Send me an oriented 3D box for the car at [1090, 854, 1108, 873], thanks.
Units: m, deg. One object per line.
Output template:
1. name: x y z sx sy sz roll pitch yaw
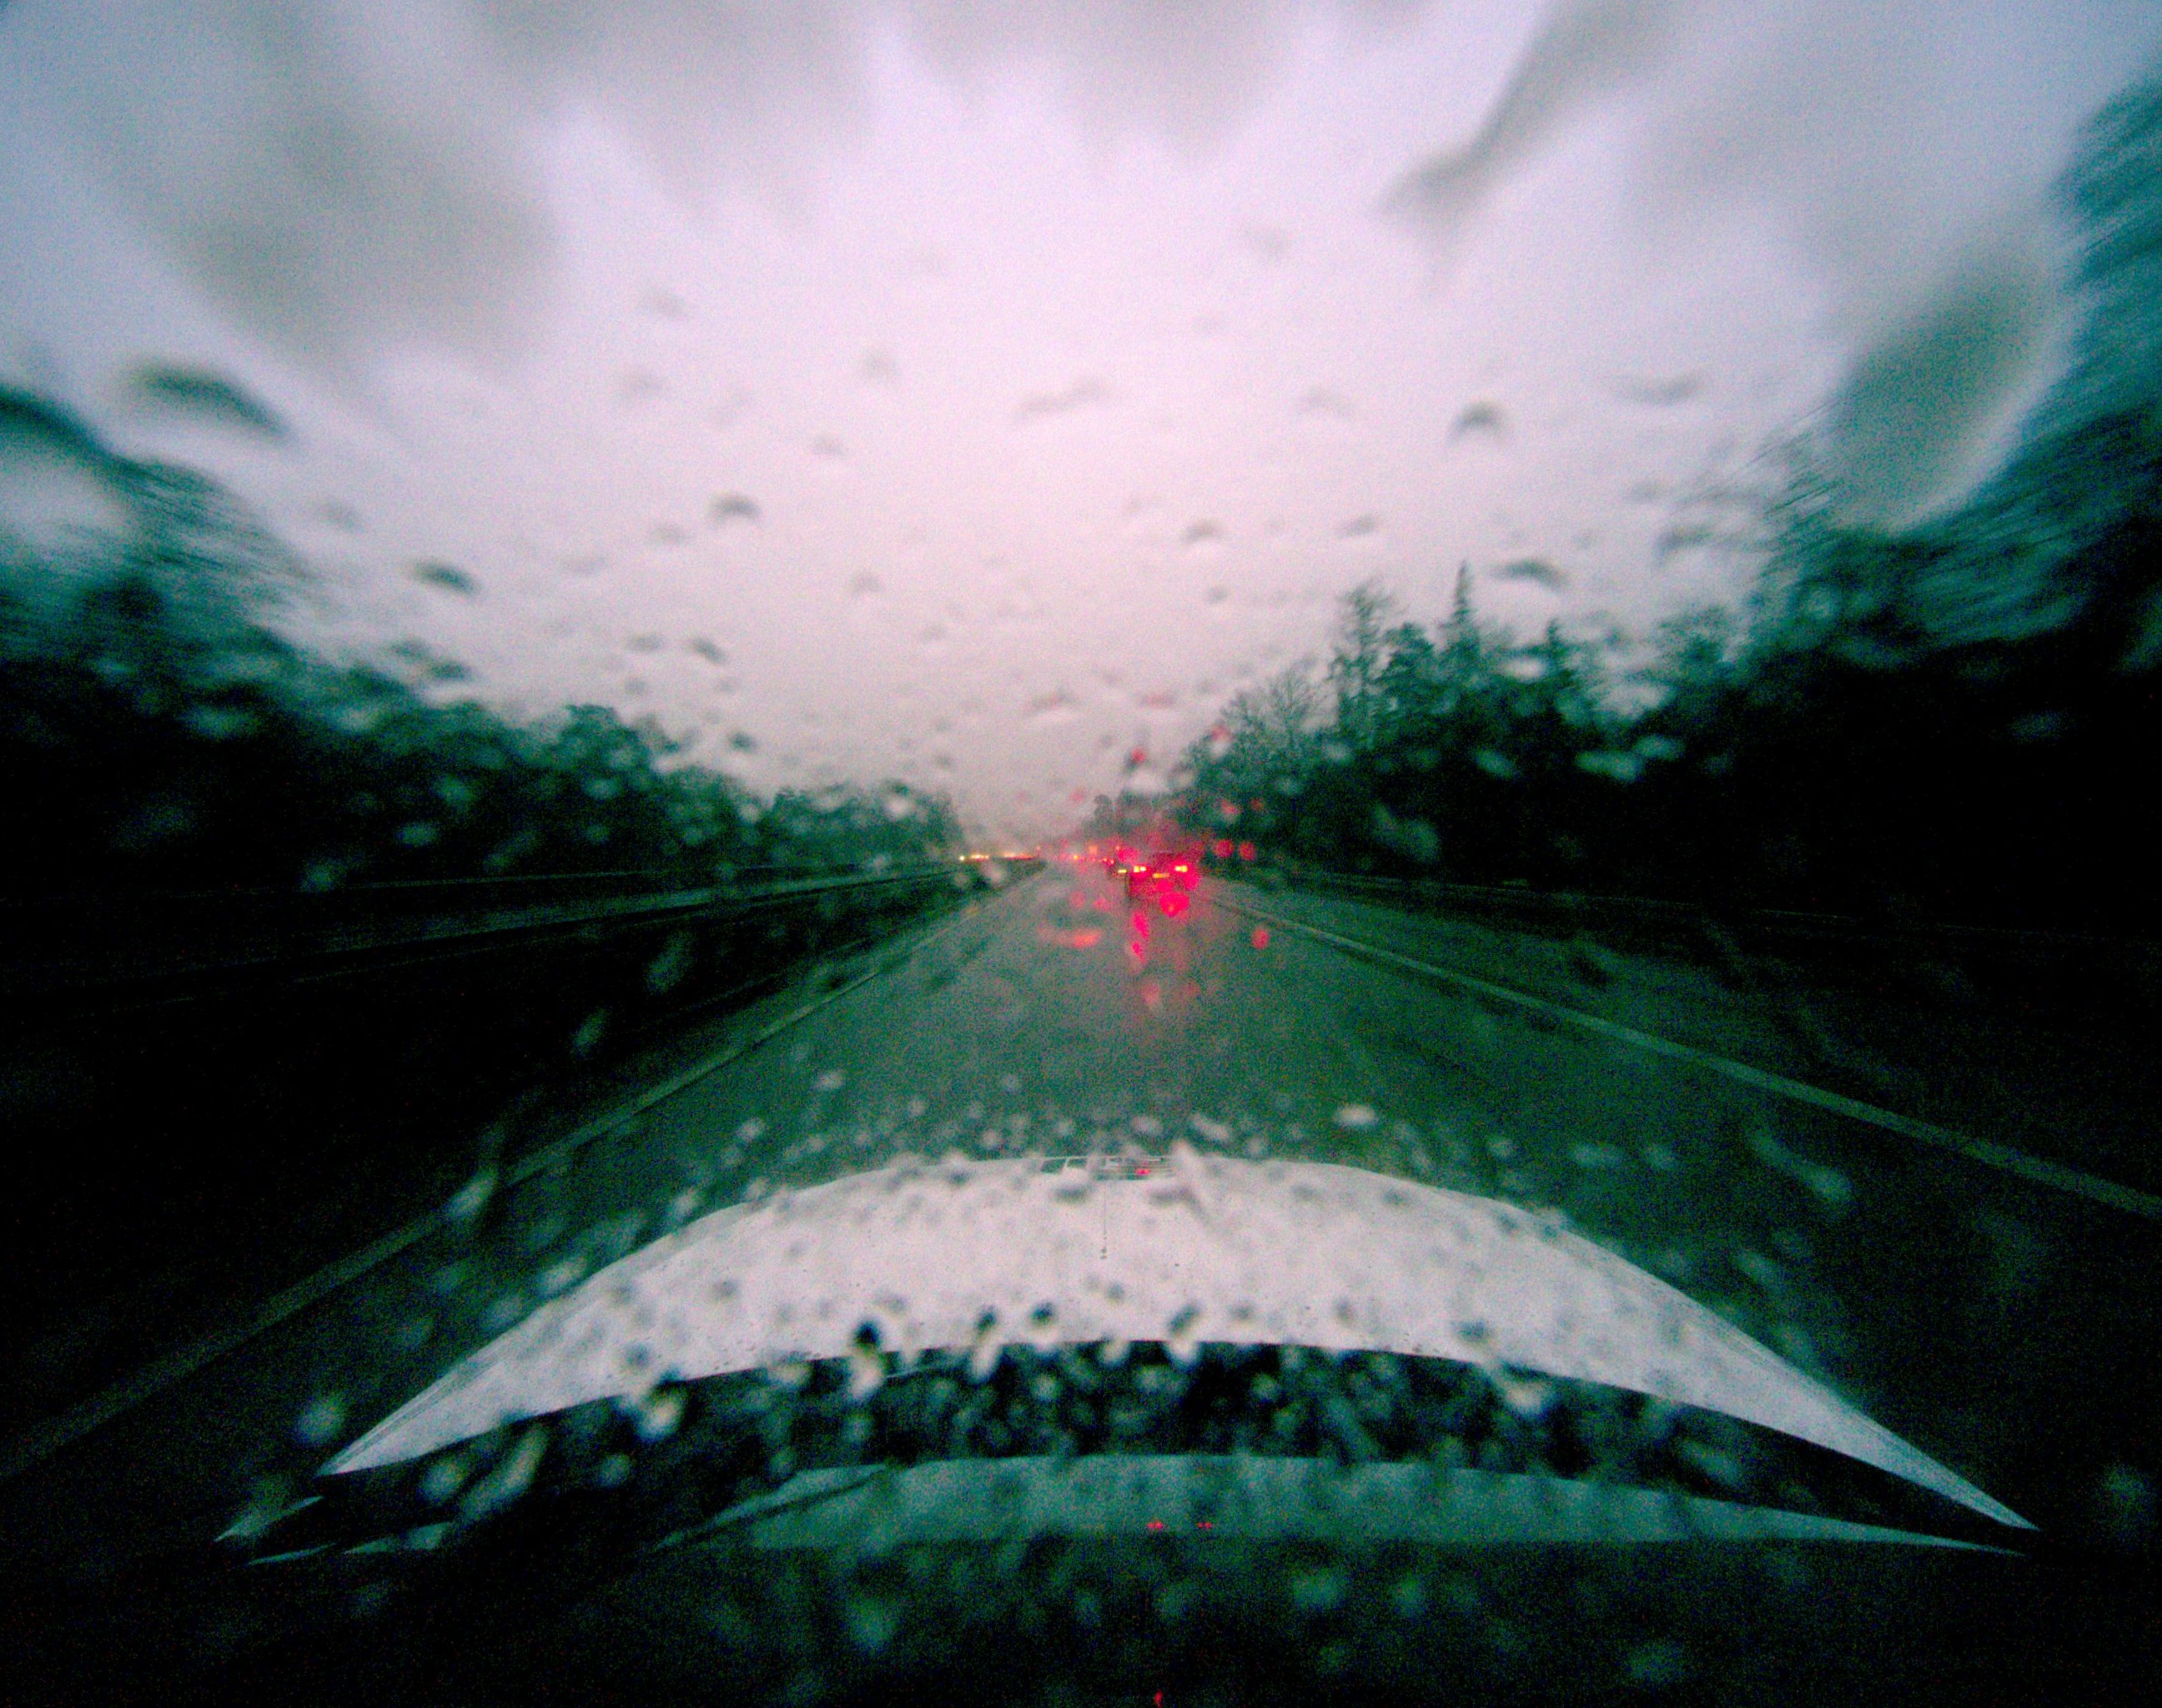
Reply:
1. car: 1.947 1.006 89.669 1.987 2.014 4.000 0 0 1

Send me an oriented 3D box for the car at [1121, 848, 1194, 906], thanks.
1. car: 2.371 0.705 26.199 1.986 1.715 3.829 0 0 0

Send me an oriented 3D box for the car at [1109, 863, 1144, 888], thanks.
1. car: 2.777 1.292 50.570 1.986 1.420 4.001 1 -1 1
